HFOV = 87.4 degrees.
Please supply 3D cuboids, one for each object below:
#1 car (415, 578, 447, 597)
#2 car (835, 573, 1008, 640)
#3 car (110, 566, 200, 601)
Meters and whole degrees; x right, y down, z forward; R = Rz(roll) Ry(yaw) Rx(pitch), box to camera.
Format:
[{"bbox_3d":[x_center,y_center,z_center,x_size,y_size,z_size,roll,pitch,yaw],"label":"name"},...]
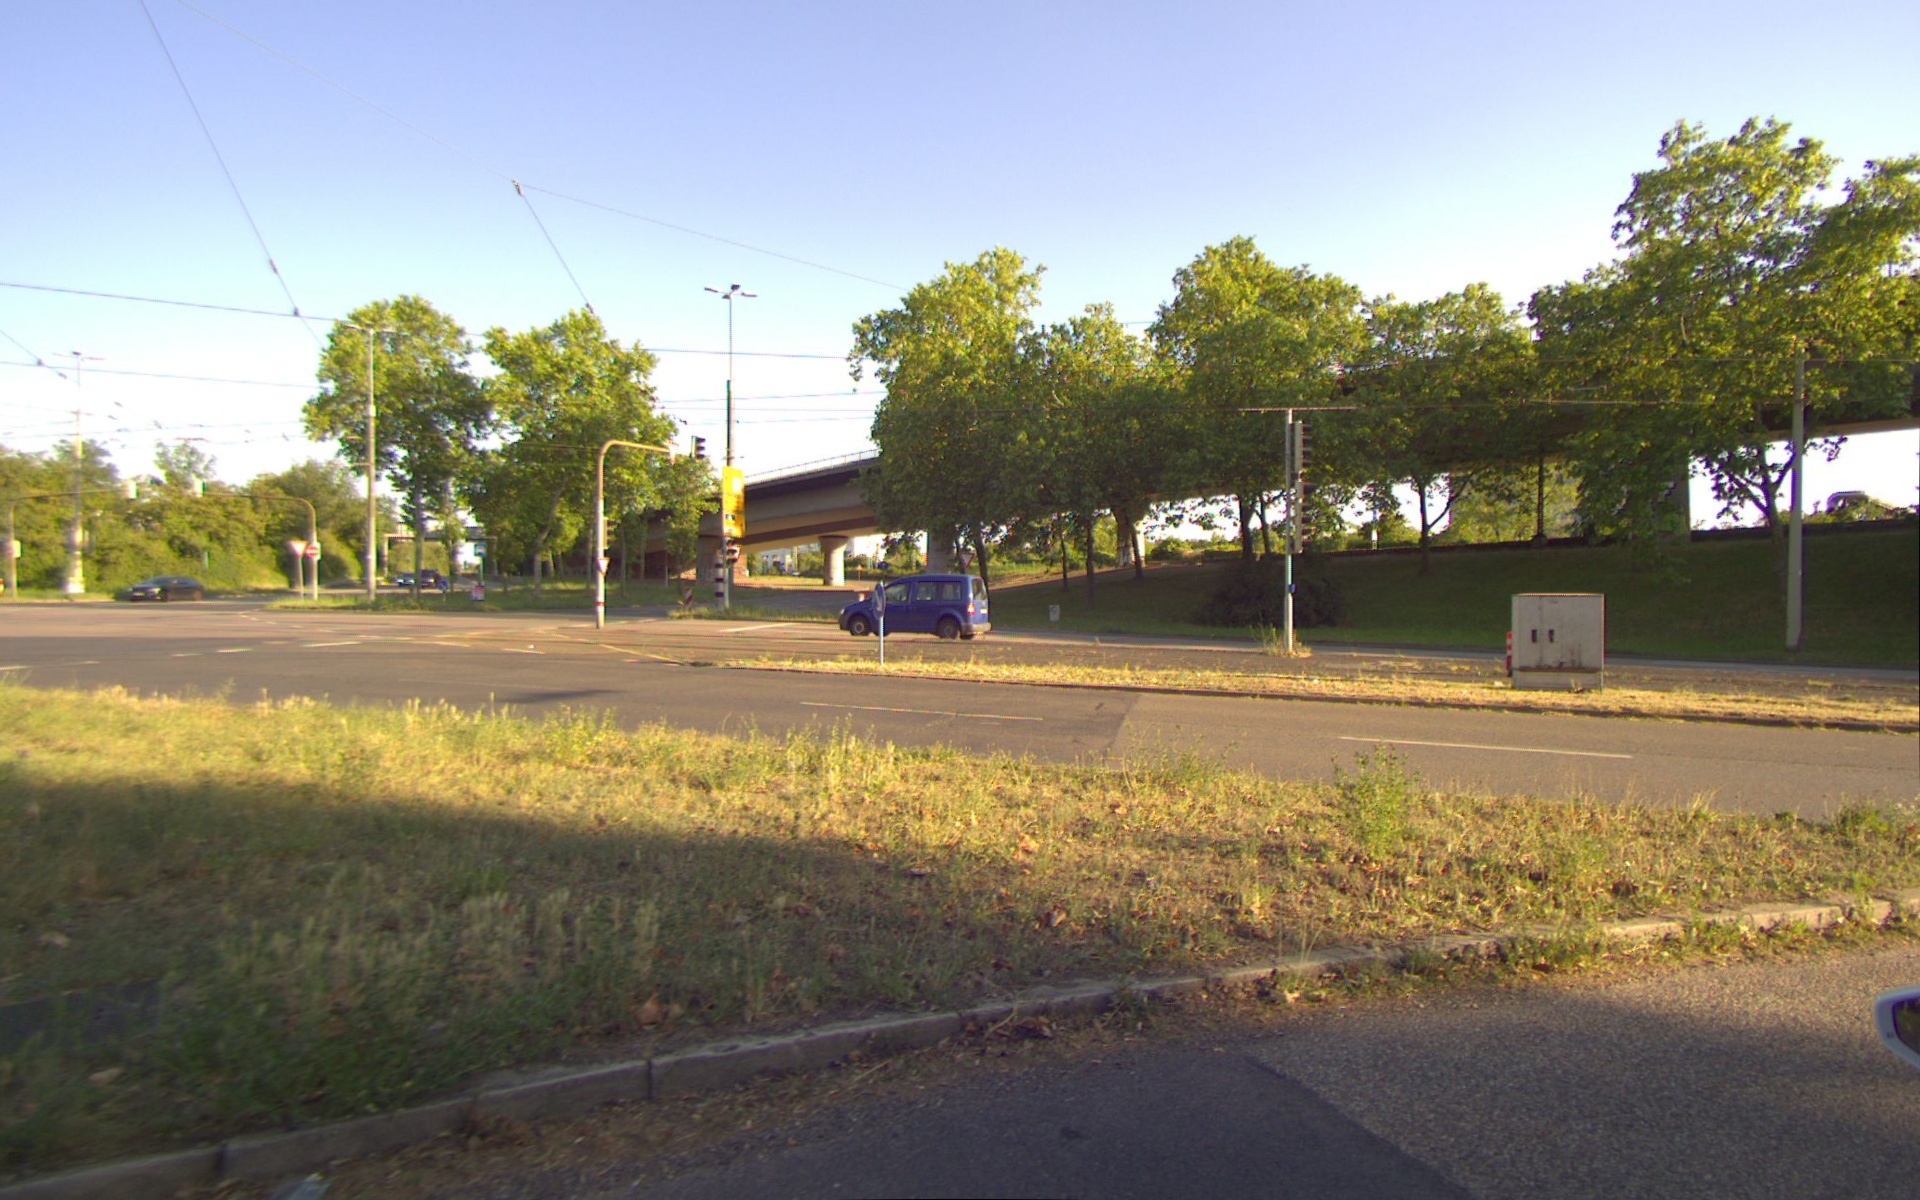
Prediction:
[{"bbox_3d":[-53.259,-1.273,101.162,1.852,1.795,3.990,1,0,-13],"label":"car"},{"bbox_3d":[-1.078,0.150,28.302,4.428,1.715,2.000,1,0,19],"label":"car"},{"bbox_3d":[-43.931,-0.876,54.945,1.849,1.795,3.997,1,0,-4],"label":"car"}]
